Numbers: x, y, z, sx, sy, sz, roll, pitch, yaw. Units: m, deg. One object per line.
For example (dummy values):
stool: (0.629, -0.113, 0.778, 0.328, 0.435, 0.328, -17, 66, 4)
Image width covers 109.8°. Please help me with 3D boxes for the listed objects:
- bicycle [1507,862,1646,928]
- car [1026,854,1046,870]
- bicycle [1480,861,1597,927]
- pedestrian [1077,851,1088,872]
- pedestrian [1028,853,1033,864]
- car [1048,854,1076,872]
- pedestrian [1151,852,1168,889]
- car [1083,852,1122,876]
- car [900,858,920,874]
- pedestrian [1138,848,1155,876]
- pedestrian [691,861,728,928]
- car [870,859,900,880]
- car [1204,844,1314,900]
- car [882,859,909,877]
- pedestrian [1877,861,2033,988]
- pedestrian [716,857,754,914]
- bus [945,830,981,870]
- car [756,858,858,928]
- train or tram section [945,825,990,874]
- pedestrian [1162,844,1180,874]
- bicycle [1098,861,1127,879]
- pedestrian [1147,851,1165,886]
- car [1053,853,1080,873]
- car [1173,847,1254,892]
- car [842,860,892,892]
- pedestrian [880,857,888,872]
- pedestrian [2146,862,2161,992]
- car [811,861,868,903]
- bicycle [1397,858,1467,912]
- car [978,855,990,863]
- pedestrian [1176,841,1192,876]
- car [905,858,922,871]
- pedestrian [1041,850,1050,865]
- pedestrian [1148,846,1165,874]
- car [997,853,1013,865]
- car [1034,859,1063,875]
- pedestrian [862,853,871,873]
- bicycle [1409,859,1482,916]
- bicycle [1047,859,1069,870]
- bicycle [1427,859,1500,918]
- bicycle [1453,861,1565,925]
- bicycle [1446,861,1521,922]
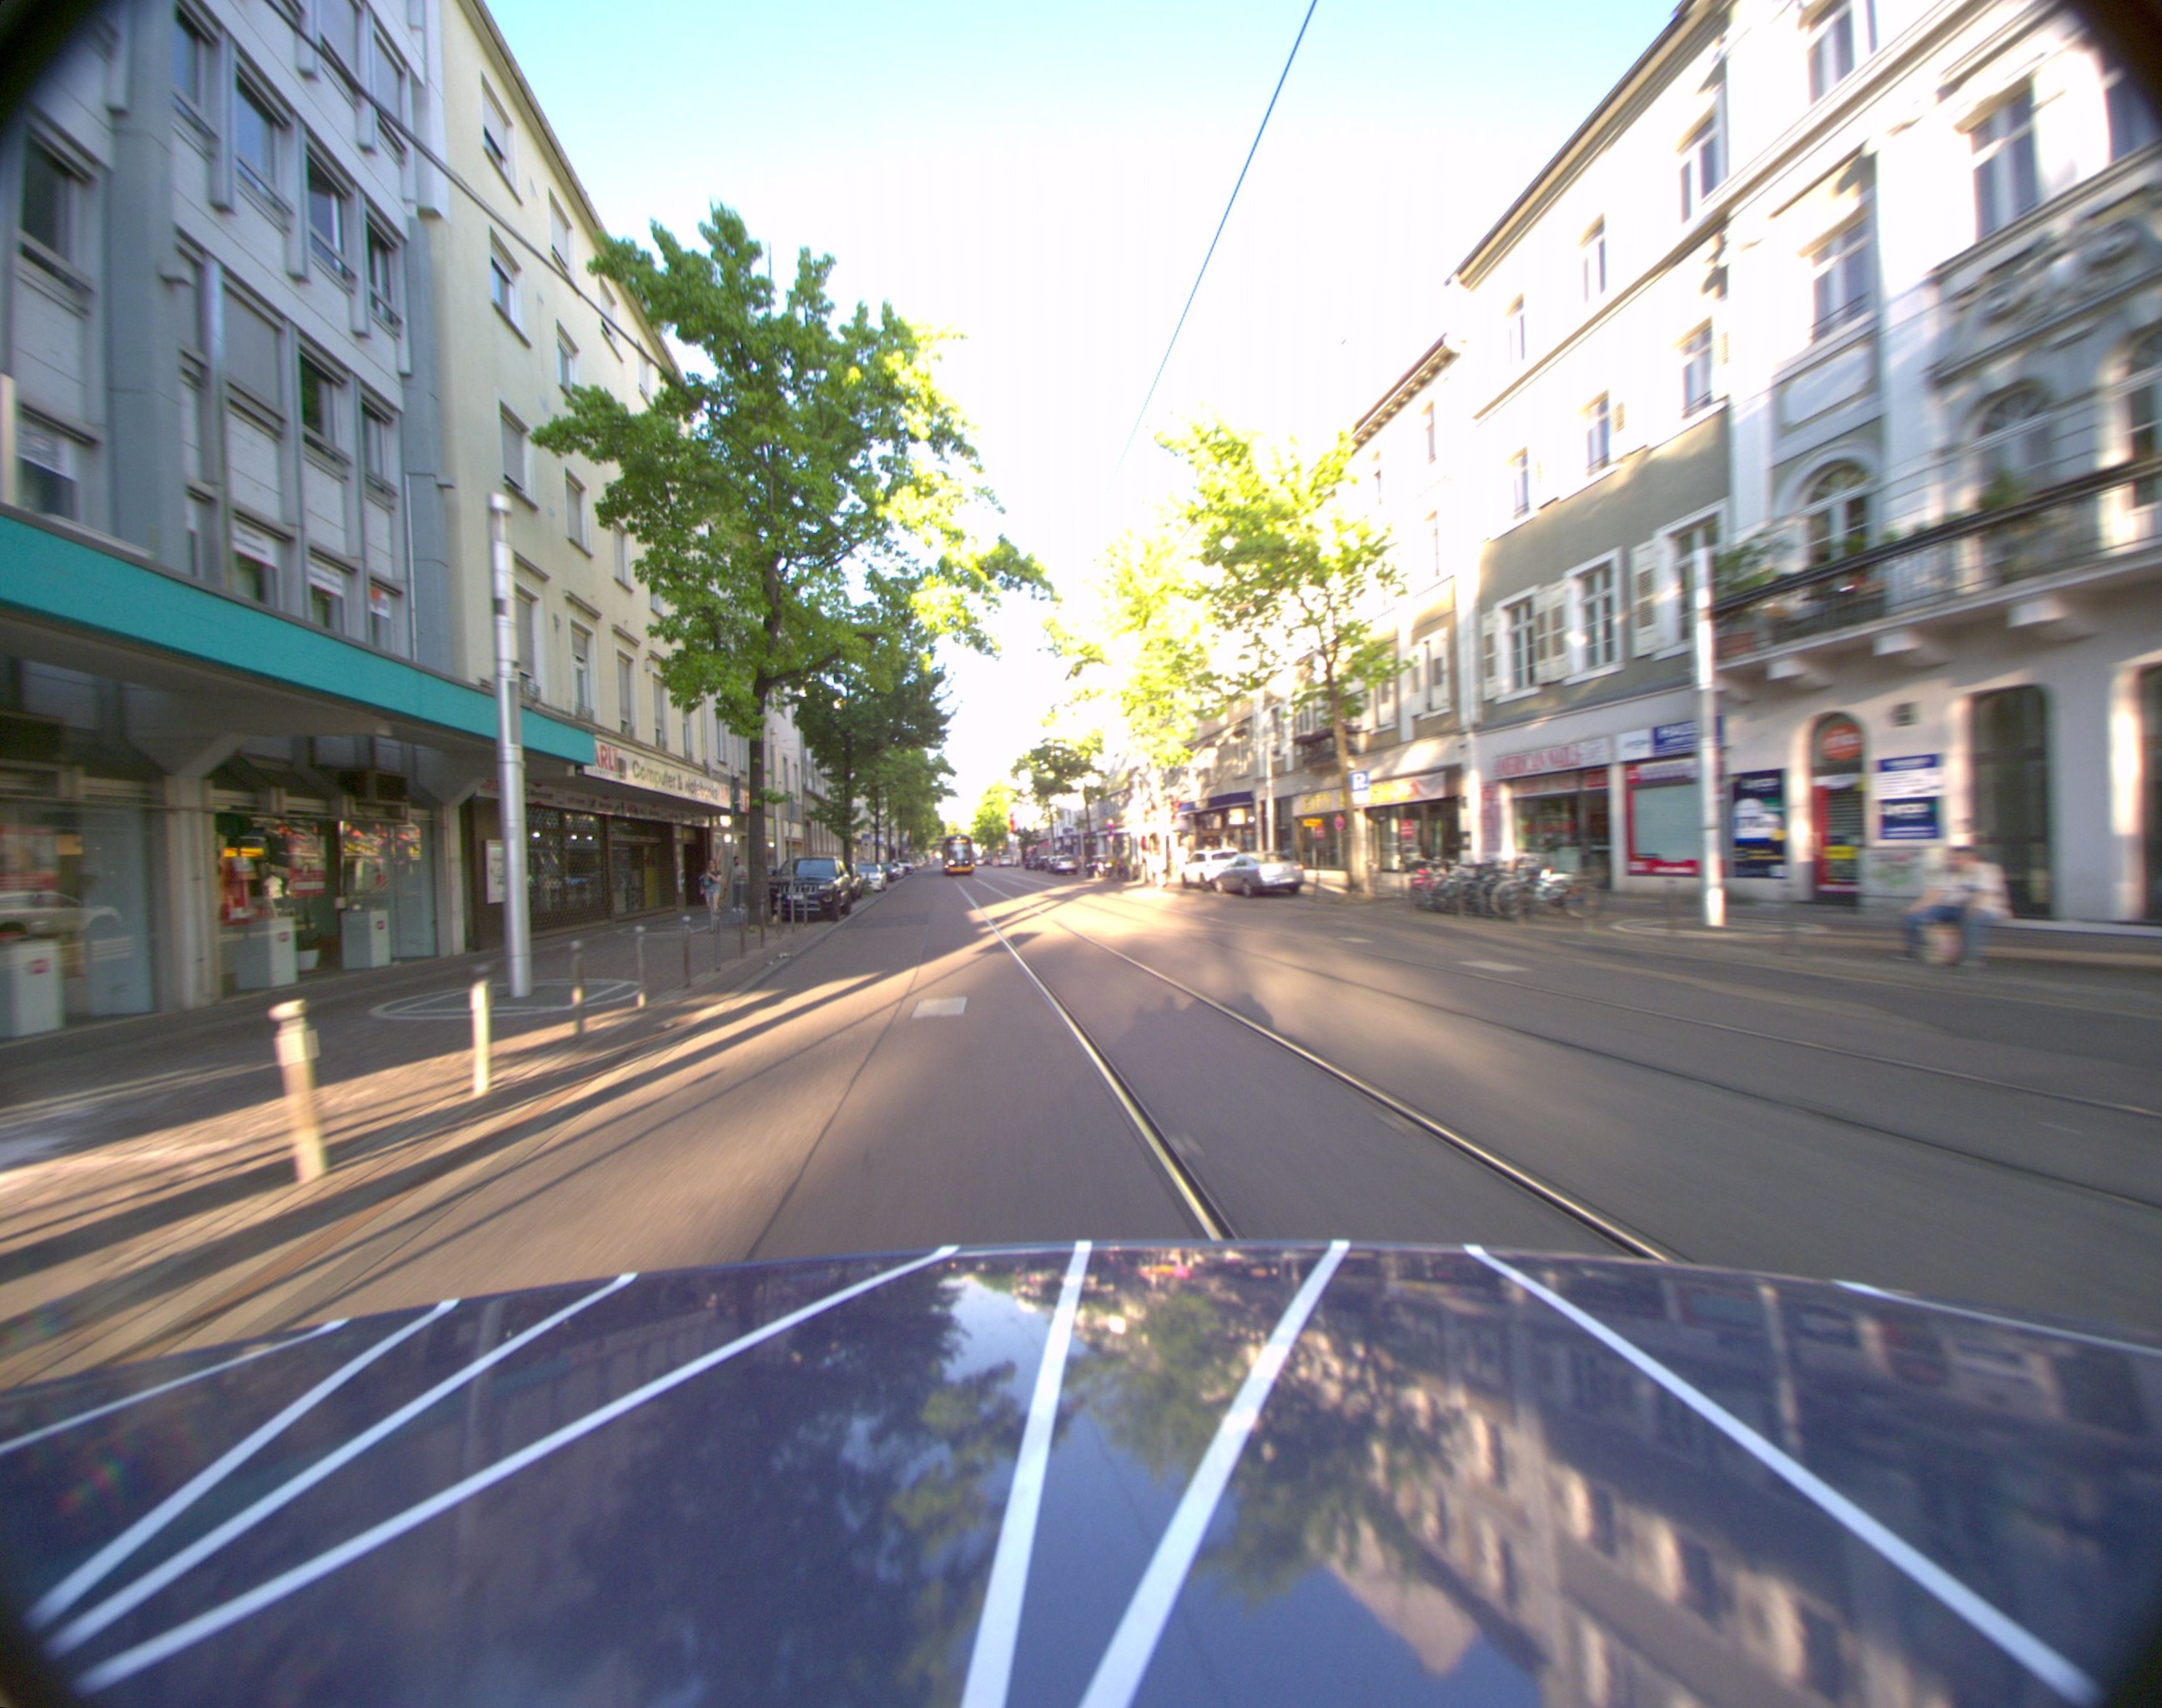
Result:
bicycle: (8.912, 0.748, 13.752, 2.025, 1.098, 0.501, -3, 2, 24)
car: (-5.008, 0.913, 84.682, 1.634, 1.606, 3.709, -4, 0, 5)
bicycle: (8.803, 0.755, 14.617, 2.030, 1.098, 0.500, -4, 2, -8)
pedestrian: (0.117, 0.633, 68.090, 0.662, 1.815, 0.878, -5, 1, -10)
pedestrian: (-7.576, 0.649, 114.473, 0.643, 1.703, 0.829, -3, 1, -7)
car: (-1.719, 0.769, 66.919, 1.717, 1.452, 4.482, -4, 1, -10)
pedestrian: (3.410, 0.706, 33.037, 0.523, 1.560, 0.633, -2, 2, -10)
car: (1.388, 0.649, 50.202, 1.671, 1.420, 3.823, -5, 1, -11)
car: (-18.601, 1.277, 82.593, 2.005, 1.678, 4.961, 0, 0, -13)
pedestrian: (4.020, 0.476, 46.555, 0.846, 1.683, 0.739, -2, 1, -11)
pedestrian: (-9.467, 1.014, 19.384, 0.645, 1.660, 0.785, 1, 0, -10)
car: (-14.634, 1.127, 56.888, 1.839, 1.469, 4.757, 0, 0, -11)
car: (5.923, 0.571, 25.987, 1.842, 1.571, 4.698, -6, 1, -10)
car: (-15.855, 1.159, 65.087, 1.919, 1.412, 4.883, 1, 0, -10)
pedestrian: (9.589, 0.736, 8.366, 0.730, 1.283, 0.855, -3, 1, -13)
pedestrian: (-10.921, 0.982, 24.026, 0.861, 1.743, 0.932, 1, 0, -10)
bus: (-13.822, -0.341, 87.764, 3.619, 3.974, 17.467, -2, 0, -10)
car: (-7.678, 1.014, 21.743, 1.945, 1.749, 4.675, 2, 0, -10)
train or tram section: (-10.915, -0.331, 71.409, 3.610, 3.974, 15.702, -2, 0, -10)
pedestrian: (5.326, 0.295, 45.164, 0.724, 1.750, 1.089, -2, 1, -10)
bicycle: (1.922, 0.980, 46.235, 1.621, 0.960, 0.432, -4, 1, -5)
pedestrian: (3.329, 0.643, 33.790, 0.622, 1.501, 0.729, -2, 2, -10)
car: (-1.164, 0.672, 60.526, 1.772, 1.488, 4.172, -2, 1, -5)
car: (5.283, 0.594, 30.965, 1.842, 1.571, 4.112, -6, 1, -10)
car: (-10.918, 1.079, 39.063, 2.000, 1.489, 4.675, 1, -1, -10)
pedestrian: (-20.982, 1.069, 80.895, 0.651, 1.564, 0.798, -2, 1, -10)
pedestrian: (10.293, 0.663, 6.828, 0.593, 1.187, 0.641, -3, 1, -13)
car: (-9.963, 1.106, 31.606, 1.782, 1.581, 3.888, 2, 0, -11)
bicycle: (8.382, 0.720, 18.105, 1.954, 1.098, 0.566, -4, 2, -35)
car: (-18.845, 1.027, 147.488, 1.891, 1.602, 4.196, 0, 0, -11)
pedestrian: (6.093, 0.273, 45.090, 0.724, 2.002, 0.642, -2, 1, -10)
car: (-25.038, 1.601, 113.705, 1.958, 1.782, 4.313, -2, 0, -7)
pedestrian: (-4.313, 0.446, 92.779, 0.853, 1.756, 0.831, -2, 0, -13)
pedestrian: (4.693, 0.383, 47.327, 0.791, 1.683, 0.913, -2, 0, -11)
car: (-12.050, 0.828, 120.641, 2.000, 1.744, 4.740, -4, 0, -11)
car: (-3.309, 1.307, 76.678, 1.798, 1.481, 4.236, -4, 1, -16)
pedestrian: (-20.877, 0.892, 73.896, 0.715, 1.875, 1.052, -1, 0, -10)
bicycle: (8.306, 0.733, 17.260, 2.118, 1.098, 0.500, -4, 2, -35)
bicycle: (-2.105, 0.988, 70.677, 1.977, 0.995, 0.330, -2, 1, -8)
bicycle: (8.403, 0.719, 16.642, 2.033, 1.098, 0.500, -4, 2, -35)
bicycle: (8.538, 0.766, 15.165, 2.030, 1.098, 0.500, -4, 2, -8)
bicycle: (8.518, 0.765, 16.054, 2.033, 1.098, 0.500, -4, 2, -35)
